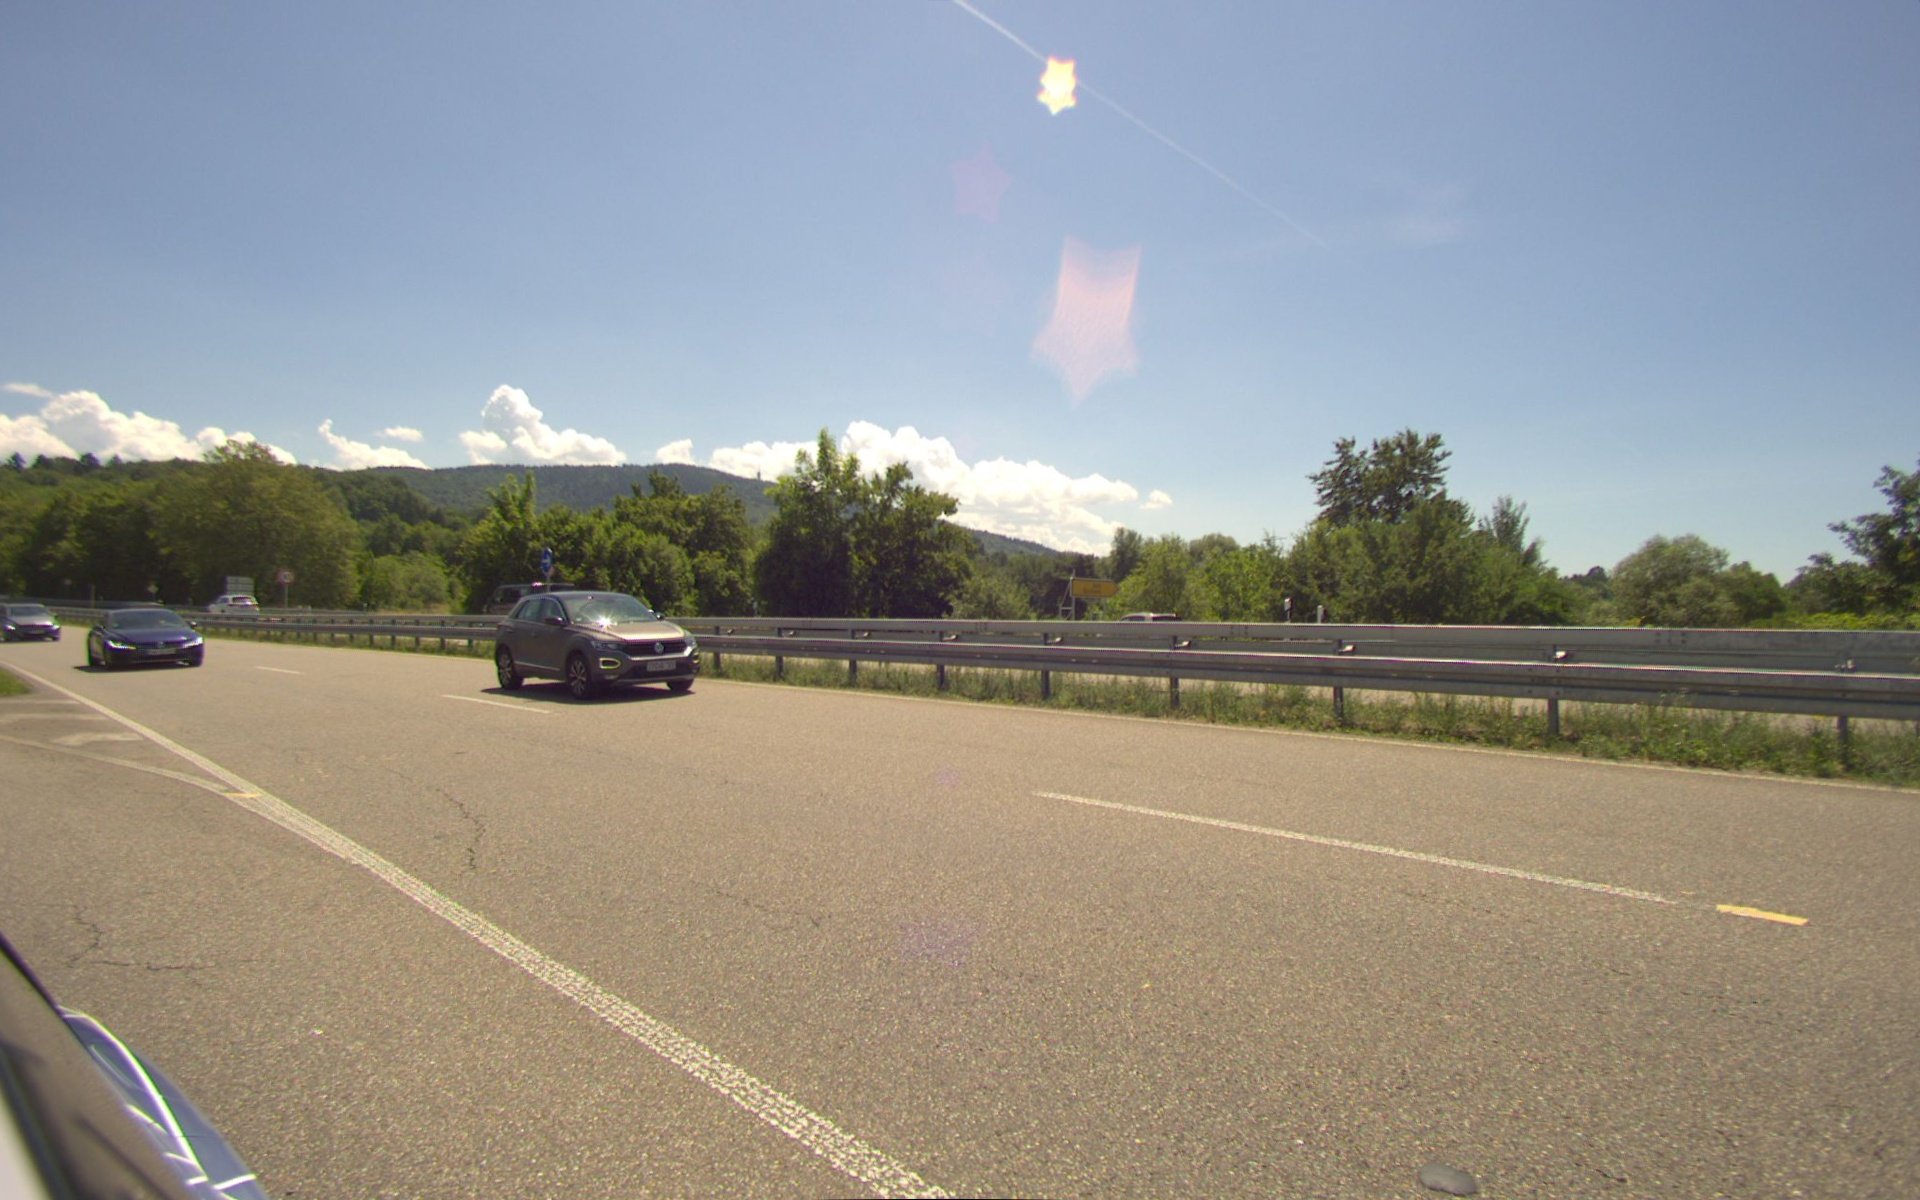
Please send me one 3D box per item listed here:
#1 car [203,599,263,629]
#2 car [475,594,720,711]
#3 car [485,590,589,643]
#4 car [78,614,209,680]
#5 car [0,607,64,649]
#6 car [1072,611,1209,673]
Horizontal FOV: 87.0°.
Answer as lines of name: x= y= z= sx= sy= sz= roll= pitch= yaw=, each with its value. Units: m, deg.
car: x=-48.645 y=0.904 z=67.665 sx=4.905 sy=1.907 sz=1.975 roll=1 pitch=1 yaw=38
car: x=-5.775 y=0.721 z=15.819 sx=4.471 sy=1.541 sz=1.821 roll=-1 pitch=1 yaw=44
car: x=-16.878 y=0.599 z=40.251 sx=2.178 sy=1.907 sz=4.916 roll=0 pitch=1 yaw=-44
car: x=-20.088 y=1.088 z=24.833 sx=4.469 sy=1.418 sz=1.821 roll=-1 pitch=1 yaw=42
car: x=-39.649 y=1.166 z=42.913 sx=4.549 sy=1.680 sz=1.775 roll=-1 pitch=0 yaw=39
car: x=6.283 y=1.413 z=35.911 sx=2.173 sy=1.907 sz=4.928 roll=0 pitch=1 yaw=-28
